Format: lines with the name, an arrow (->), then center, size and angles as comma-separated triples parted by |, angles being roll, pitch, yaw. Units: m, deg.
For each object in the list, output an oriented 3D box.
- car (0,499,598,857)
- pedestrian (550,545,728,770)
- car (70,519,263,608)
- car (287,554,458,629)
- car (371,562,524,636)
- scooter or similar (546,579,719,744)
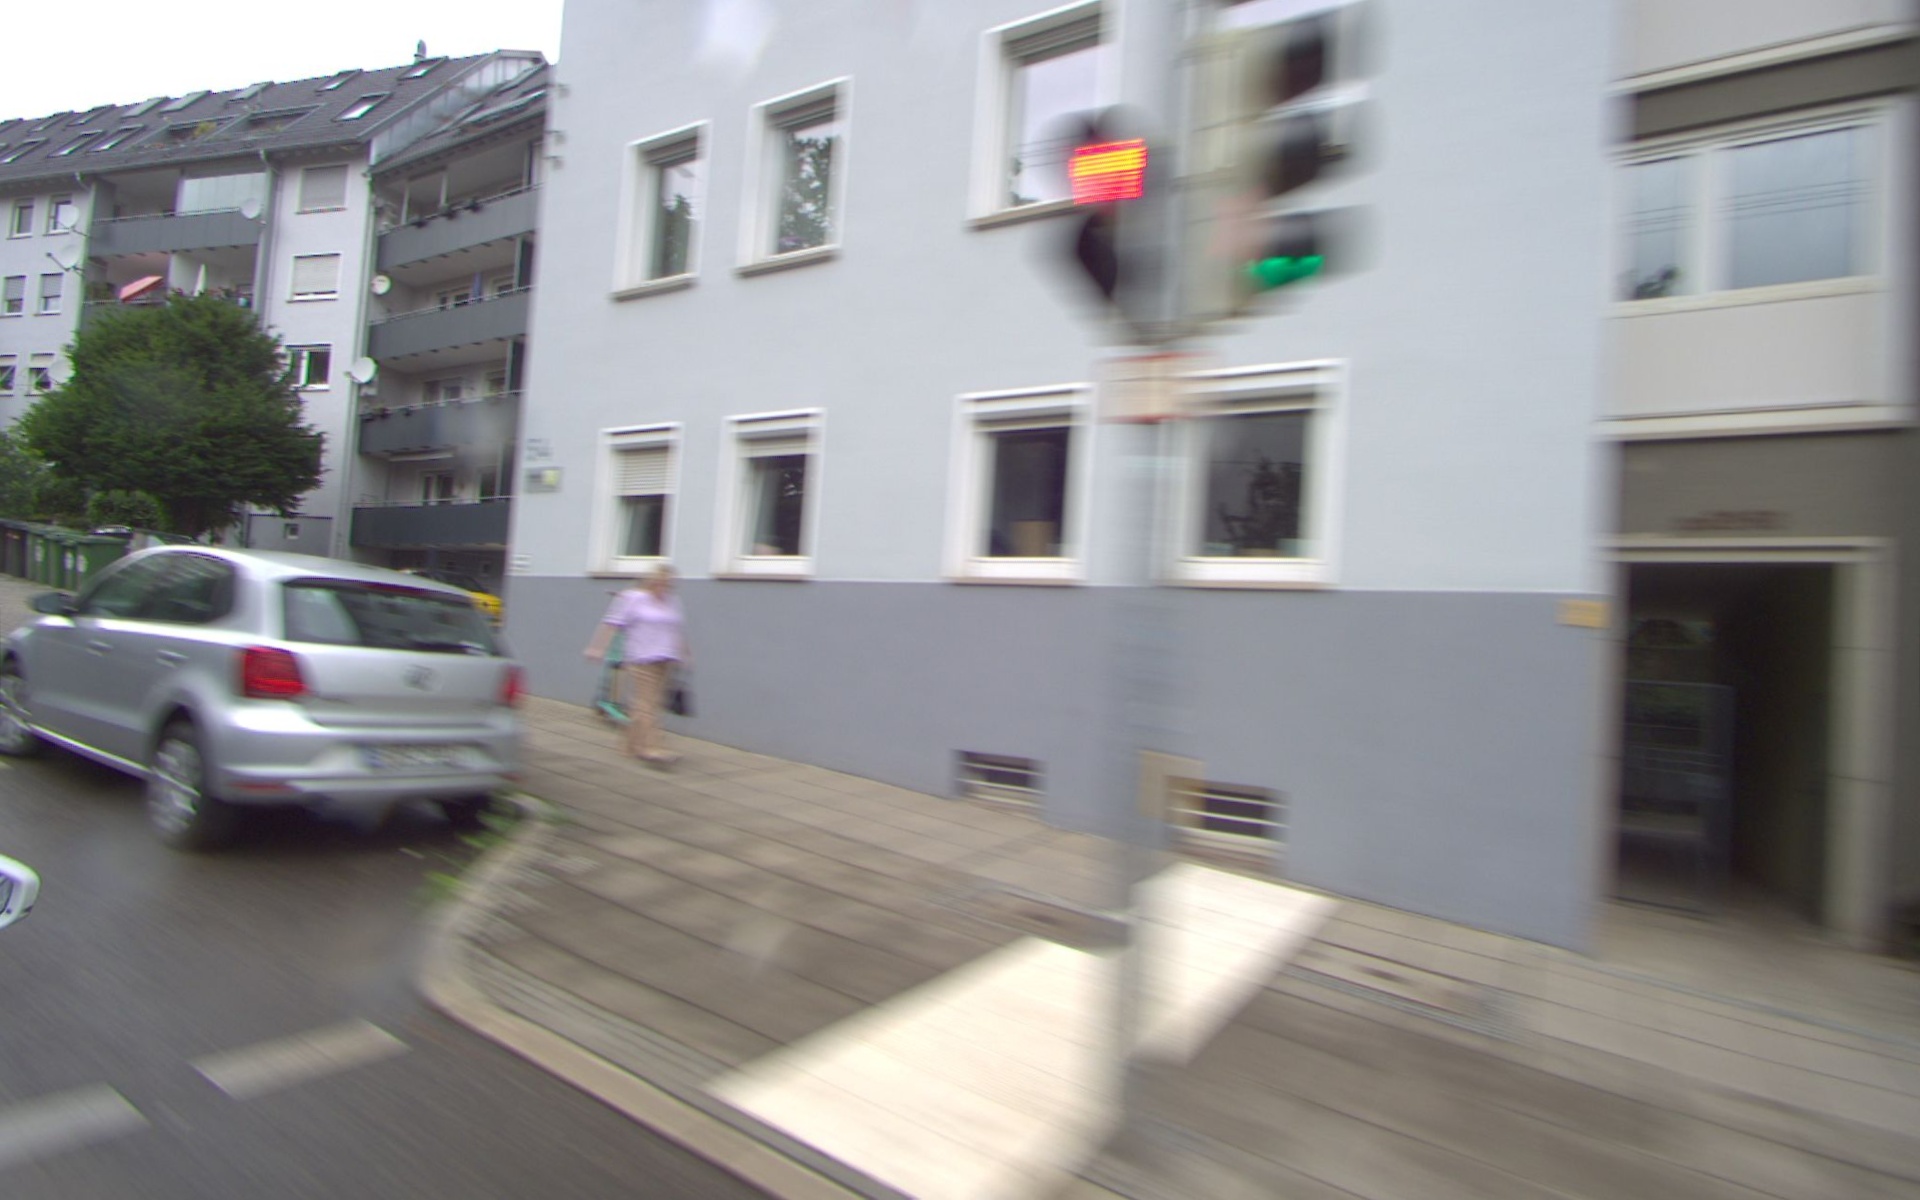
car -> -4.345, 0.325, 6.162 | 4.033, 1.449, 1.709 | 6, -3, 31
pedestrian -> -2.543, 0.447, 7.997 | 0.788, 1.603, 0.883 | 8, 1, 34
car -> -16.624, -0.741, 21.031 | 4.136, 1.531, 1.724 | 2, -5, 32
car -> -14.850, -0.232, 25.379 | 4.357, 1.394, 1.780 | 5, -3, 32
car -> -13.949, -0.045, 27.351 | 4.135, 1.539, 1.687 | 5, -2, 32
scooter or similar -> -3.047, 0.549, 9.290 | 1.585, 1.264, 0.575 | 8, 0, 37
